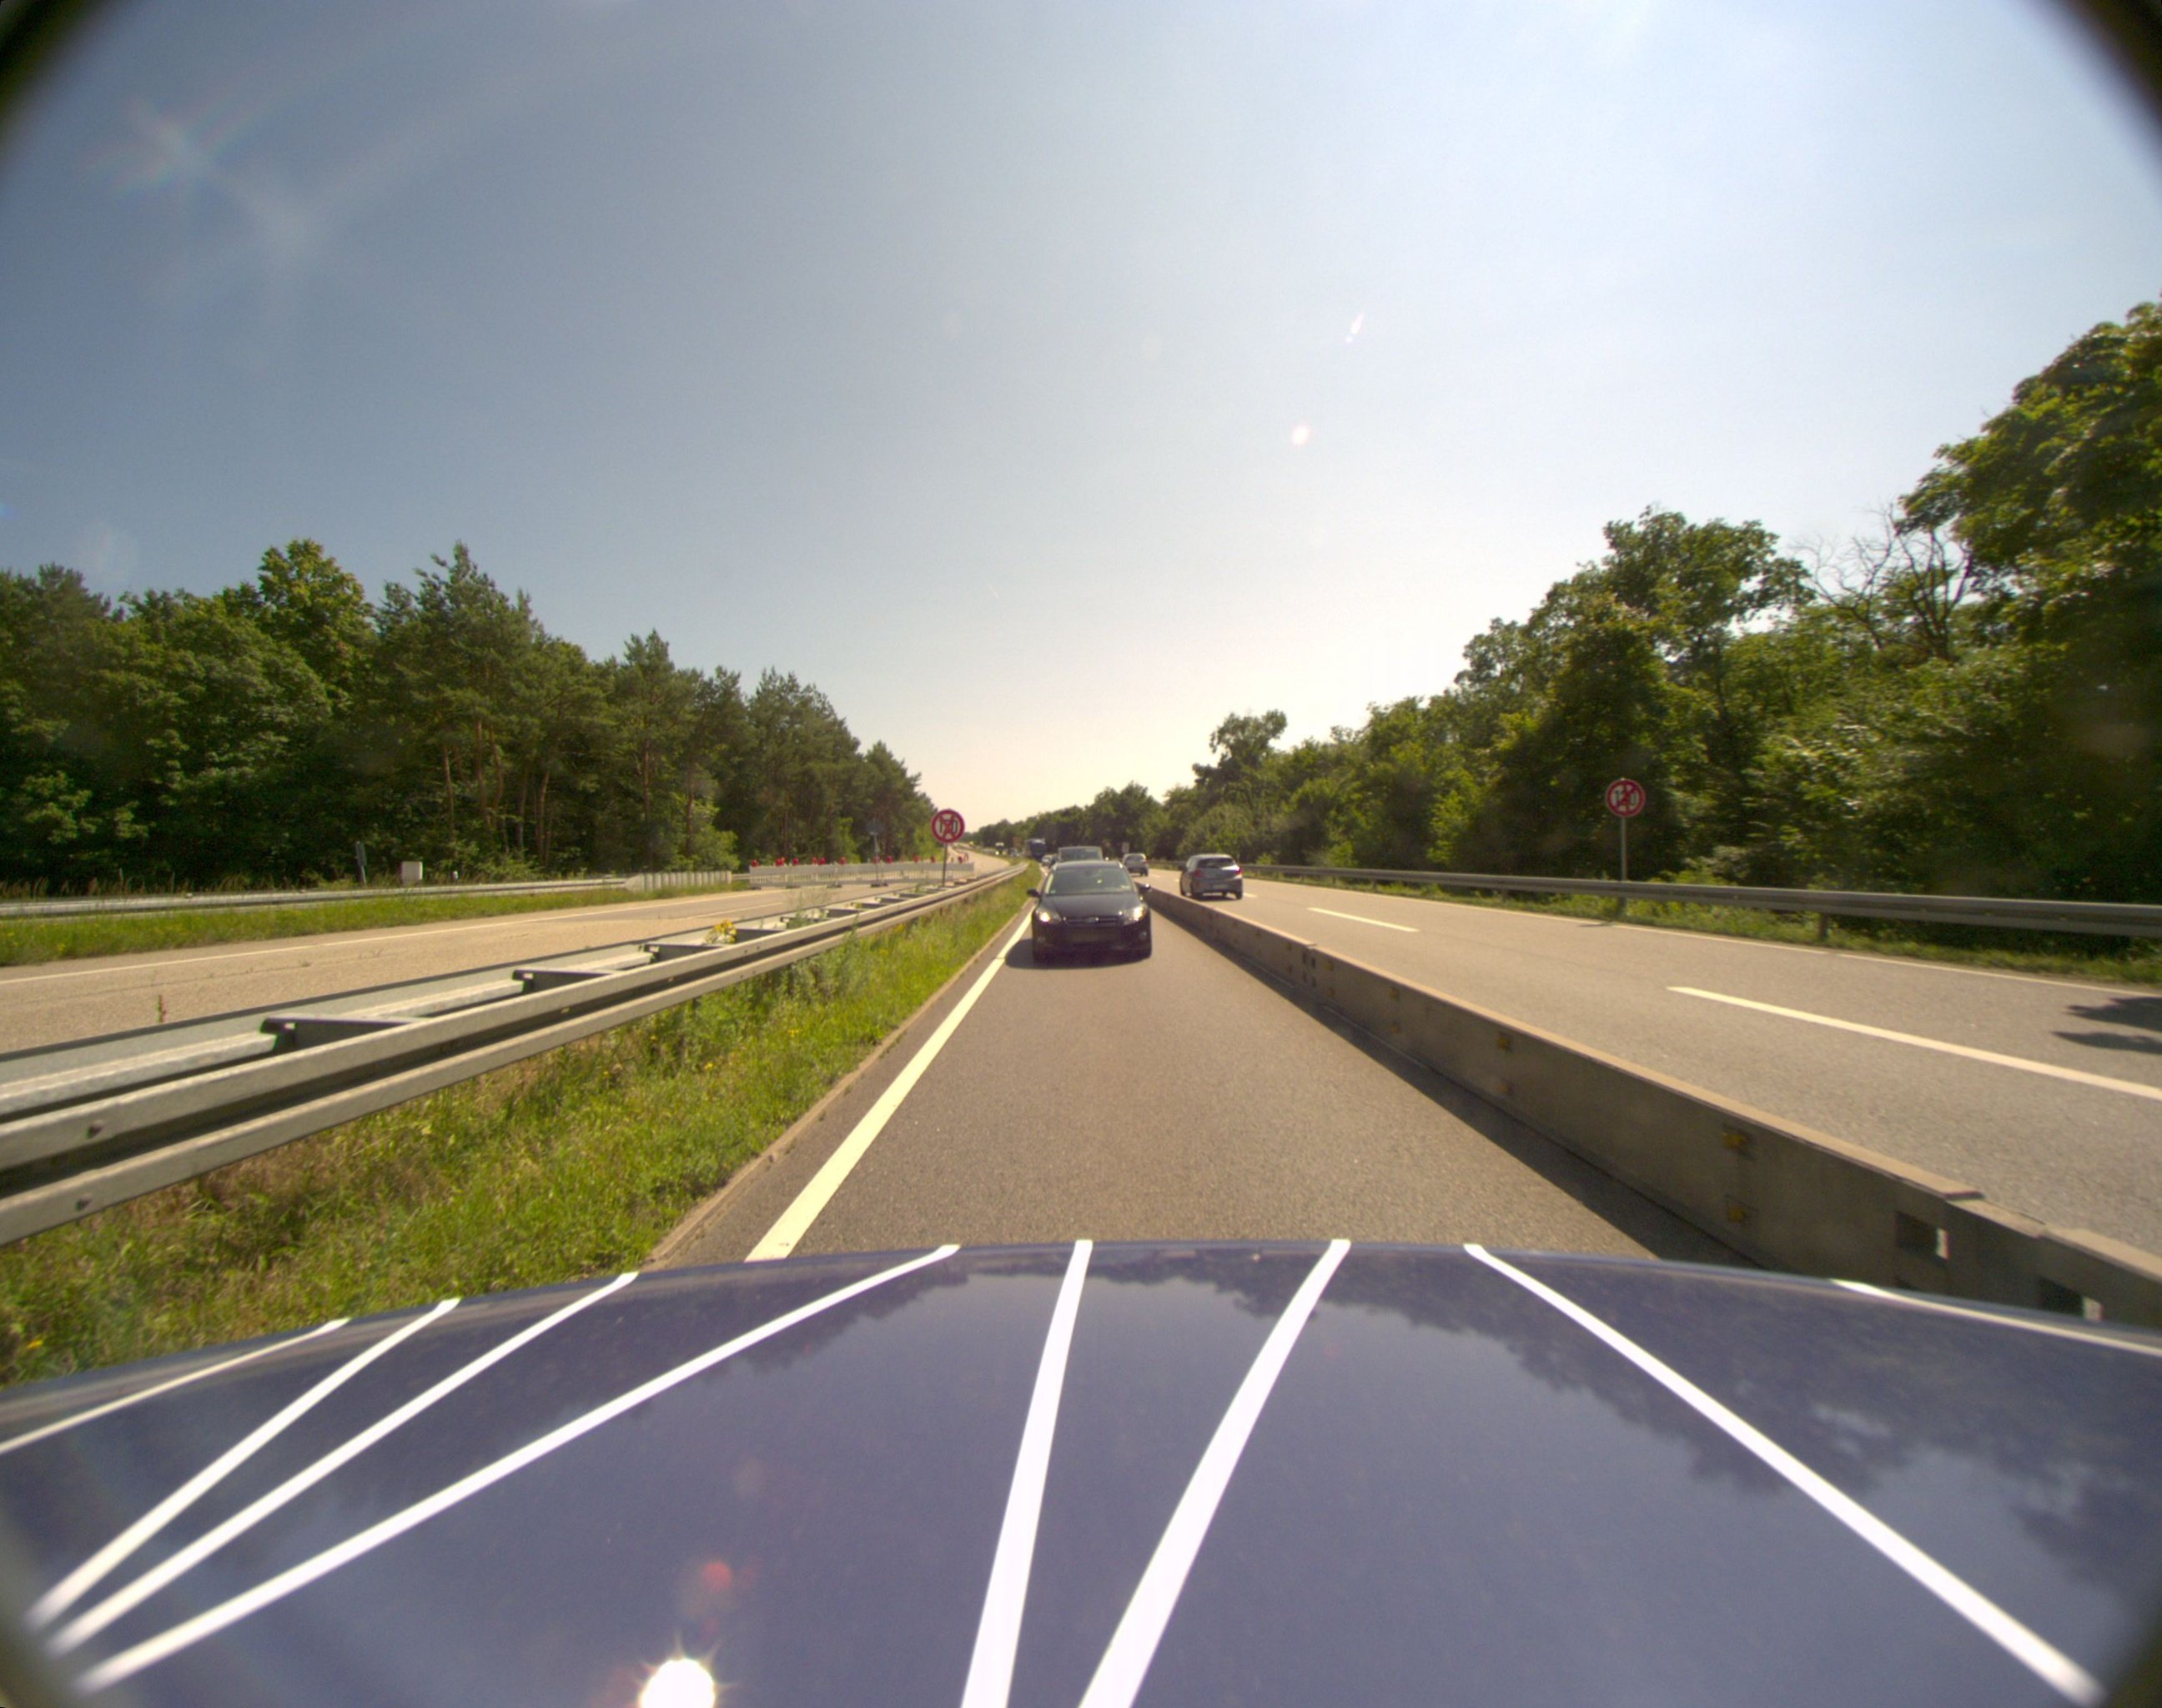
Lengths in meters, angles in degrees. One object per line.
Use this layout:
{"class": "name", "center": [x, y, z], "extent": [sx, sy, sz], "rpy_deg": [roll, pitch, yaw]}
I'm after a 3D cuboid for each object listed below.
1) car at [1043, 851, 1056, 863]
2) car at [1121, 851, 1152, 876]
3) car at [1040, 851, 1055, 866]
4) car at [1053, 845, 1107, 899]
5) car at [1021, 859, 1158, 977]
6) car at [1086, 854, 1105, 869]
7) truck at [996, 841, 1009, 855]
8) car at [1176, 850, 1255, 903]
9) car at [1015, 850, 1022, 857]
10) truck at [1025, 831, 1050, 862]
{"class": "car", "center": [-4.245, 0.396, 102.748], "extent": [1.527, 1.647, 3.752], "rpy_deg": [0, 0, -5]}
{"class": "car", "center": [3.811, 0.638, 52.933], "extent": [1.833, 1.620, 3.784], "rpy_deg": [-1, 0, 0]}
{"class": "car", "center": [-3.814, 0.533, 86.059], "extent": [1.527, 1.647, 3.978], "rpy_deg": [-1, 0, -5]}
{"class": "car", "center": [-0.055, 0.660, 31.261], "extent": [1.959, 1.902, 4.934], "rpy_deg": [-2, 1, 0]}
{"class": "car", "center": [0.052, 0.900, 12.957], "extent": [1.847, 1.537, 4.934], "rpy_deg": [-2, 0, -2]}
{"class": "car", "center": [1.590, 0.788, 84.186], "extent": [1.954, 1.530, 4.435], "rpy_deg": [-1, 0, -1]}
{"class": "truck", "center": [-25.546, -1.900, 246.618], "extent": [3.831, 4.265, 11.241], "rpy_deg": [-1, 0, -5]}
{"class": "car", "center": [4.494, 0.691, 26.039], "extent": [1.953, 1.570, 4.435], "rpy_deg": [-2, 1, 1]}
{"class": "car", "center": [-16.227, -0.087, 196.535], "extent": [1.528, 1.647, 3.977], "rpy_deg": [-1, 0, -8]}
{"class": "truck", "center": [-7.722, -1.292, 133.875], "extent": [3.831, 5.266, 11.240], "rpy_deg": [-1, 0, -6]}
